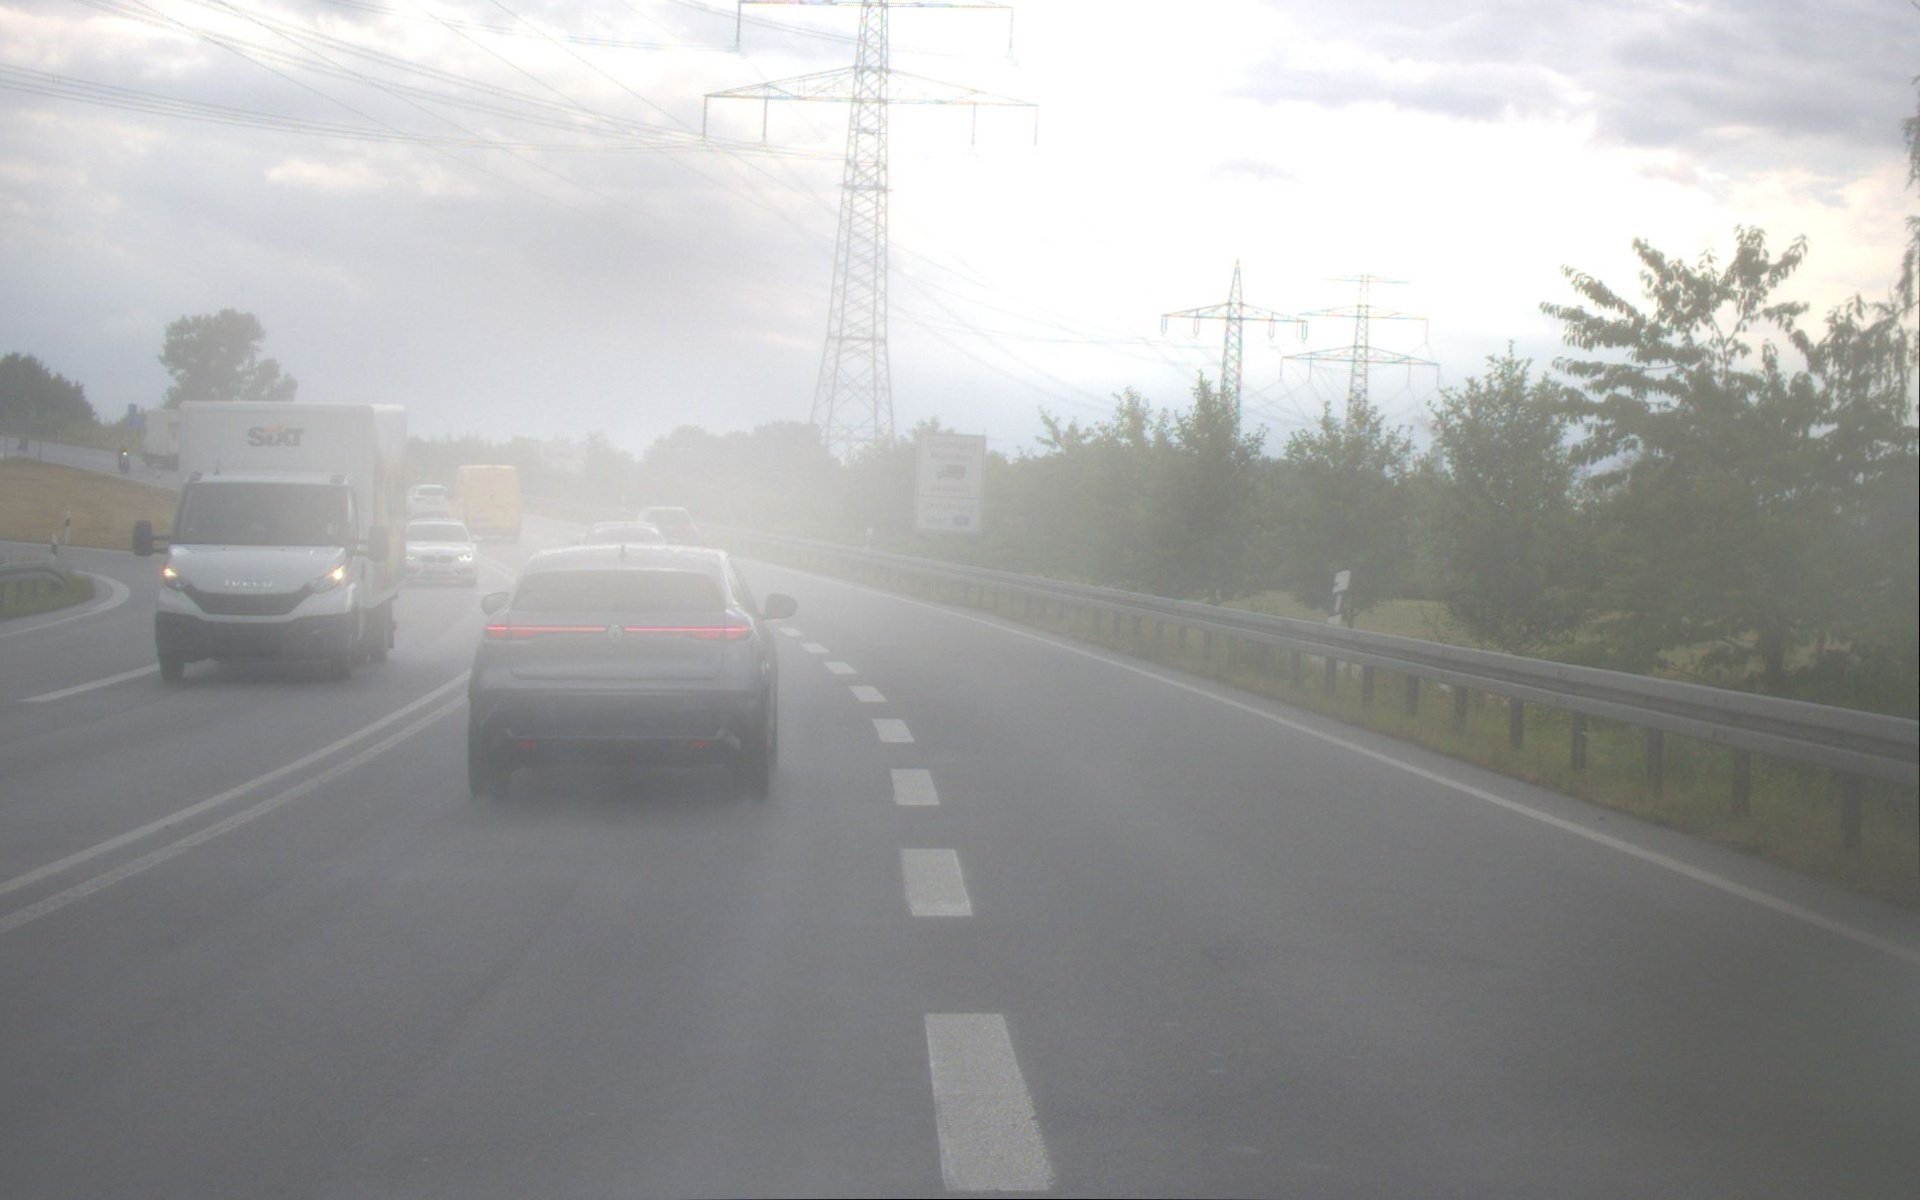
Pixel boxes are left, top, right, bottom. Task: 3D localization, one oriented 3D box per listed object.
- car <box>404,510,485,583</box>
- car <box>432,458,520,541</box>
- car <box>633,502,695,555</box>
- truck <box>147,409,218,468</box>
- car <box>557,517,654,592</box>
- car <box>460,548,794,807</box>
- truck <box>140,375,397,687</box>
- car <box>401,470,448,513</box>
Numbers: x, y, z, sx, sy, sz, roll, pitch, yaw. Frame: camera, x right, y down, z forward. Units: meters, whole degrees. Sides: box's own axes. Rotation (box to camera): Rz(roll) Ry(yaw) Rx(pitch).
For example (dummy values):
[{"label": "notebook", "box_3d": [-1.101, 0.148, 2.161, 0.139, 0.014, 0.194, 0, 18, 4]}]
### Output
[{"label": "car", "box_3d": [-11.370, -1.202, 75.985, 1.679, 1.452, 4.076, 1, 3, -8]}, {"label": "car", "box_3d": [-16.526, -3.399, 117.096, 2.572, 2.716, 7.198, -1, 1, -11]}, {"label": "car", "box_3d": [-8.833, -2.113, 102.371, 1.791, 1.536, 4.001, 1, 1, -5]}, {"label": "truck", "box_3d": [-46.713, -9.657, 206.423, 3.045, 3.373, 7.647, 1, 1, -21]}, {"label": "car", "box_3d": [-7.029, -0.910, 68.524, 1.791, 1.436, 4.001, 1, 1, -4]}, {"label": "car", "box_3d": [-1.980, 0.418, 21.448, 1.791, 1.436, 4.000, -1, 1, -2]}, {"label": "truck", "box_3d": [-7.525, -0.745, 38.059, 2.255, 3.145, 6.691, 0, 1, -7]}, {"label": "car", "box_3d": [-21.771, -4.420, 139.725, 1.791, 1.682, 4.002, 0, 2, -10]}]
